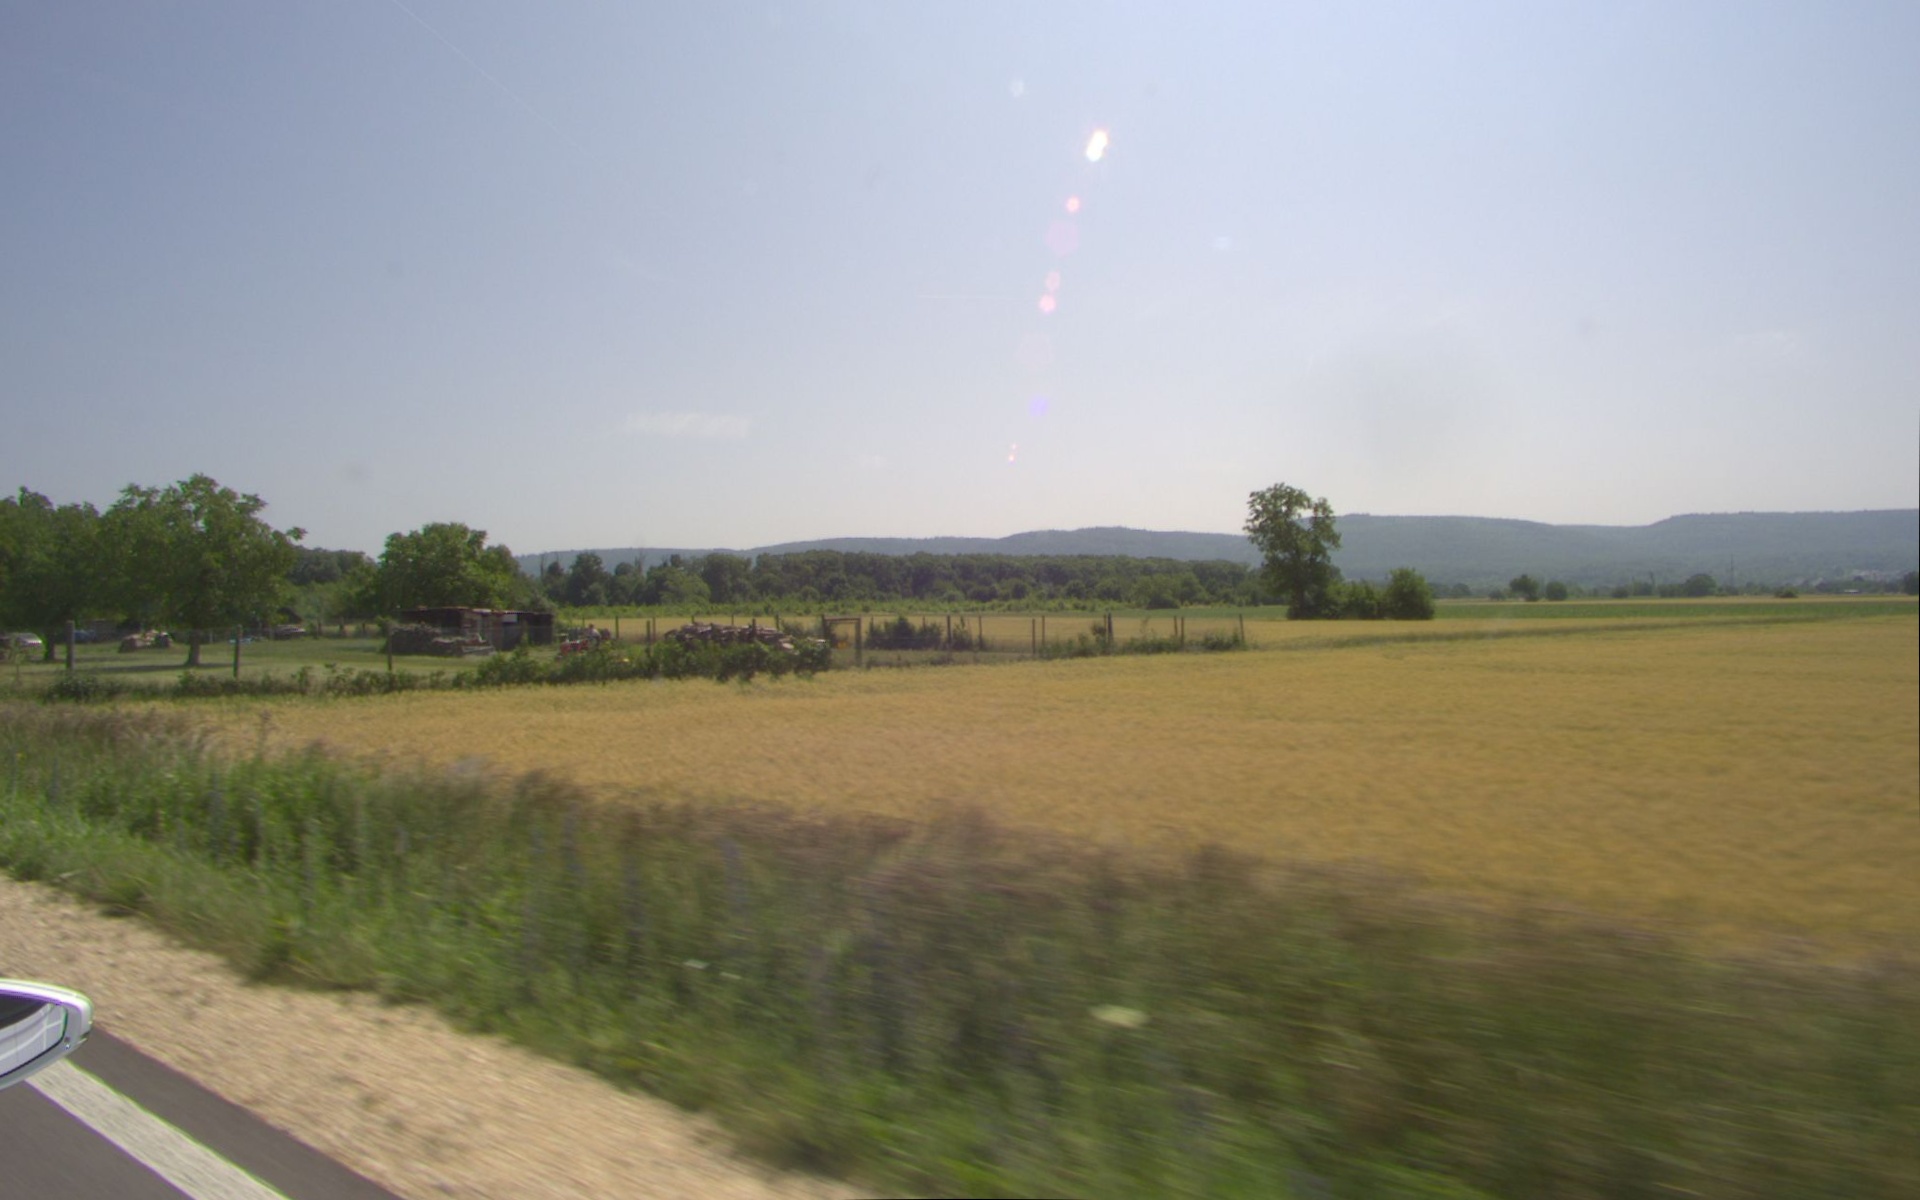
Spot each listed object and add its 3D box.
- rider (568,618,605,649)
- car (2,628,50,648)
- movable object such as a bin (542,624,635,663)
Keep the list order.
[{"bbox_3d":[-15.236,1.374,40.893,0.970,1.233,1.024,-1,0,26],"label":"rider"},{"bbox_3d":[-72.949,2.972,78.201,3.371,1.505,1.593,0,0,25],"label":"car"},{"bbox_3d":[-15.175,1.744,40.877,3.602,1.516,1.570,-1,-1,28],"label":"movable object such as a bin"}]
